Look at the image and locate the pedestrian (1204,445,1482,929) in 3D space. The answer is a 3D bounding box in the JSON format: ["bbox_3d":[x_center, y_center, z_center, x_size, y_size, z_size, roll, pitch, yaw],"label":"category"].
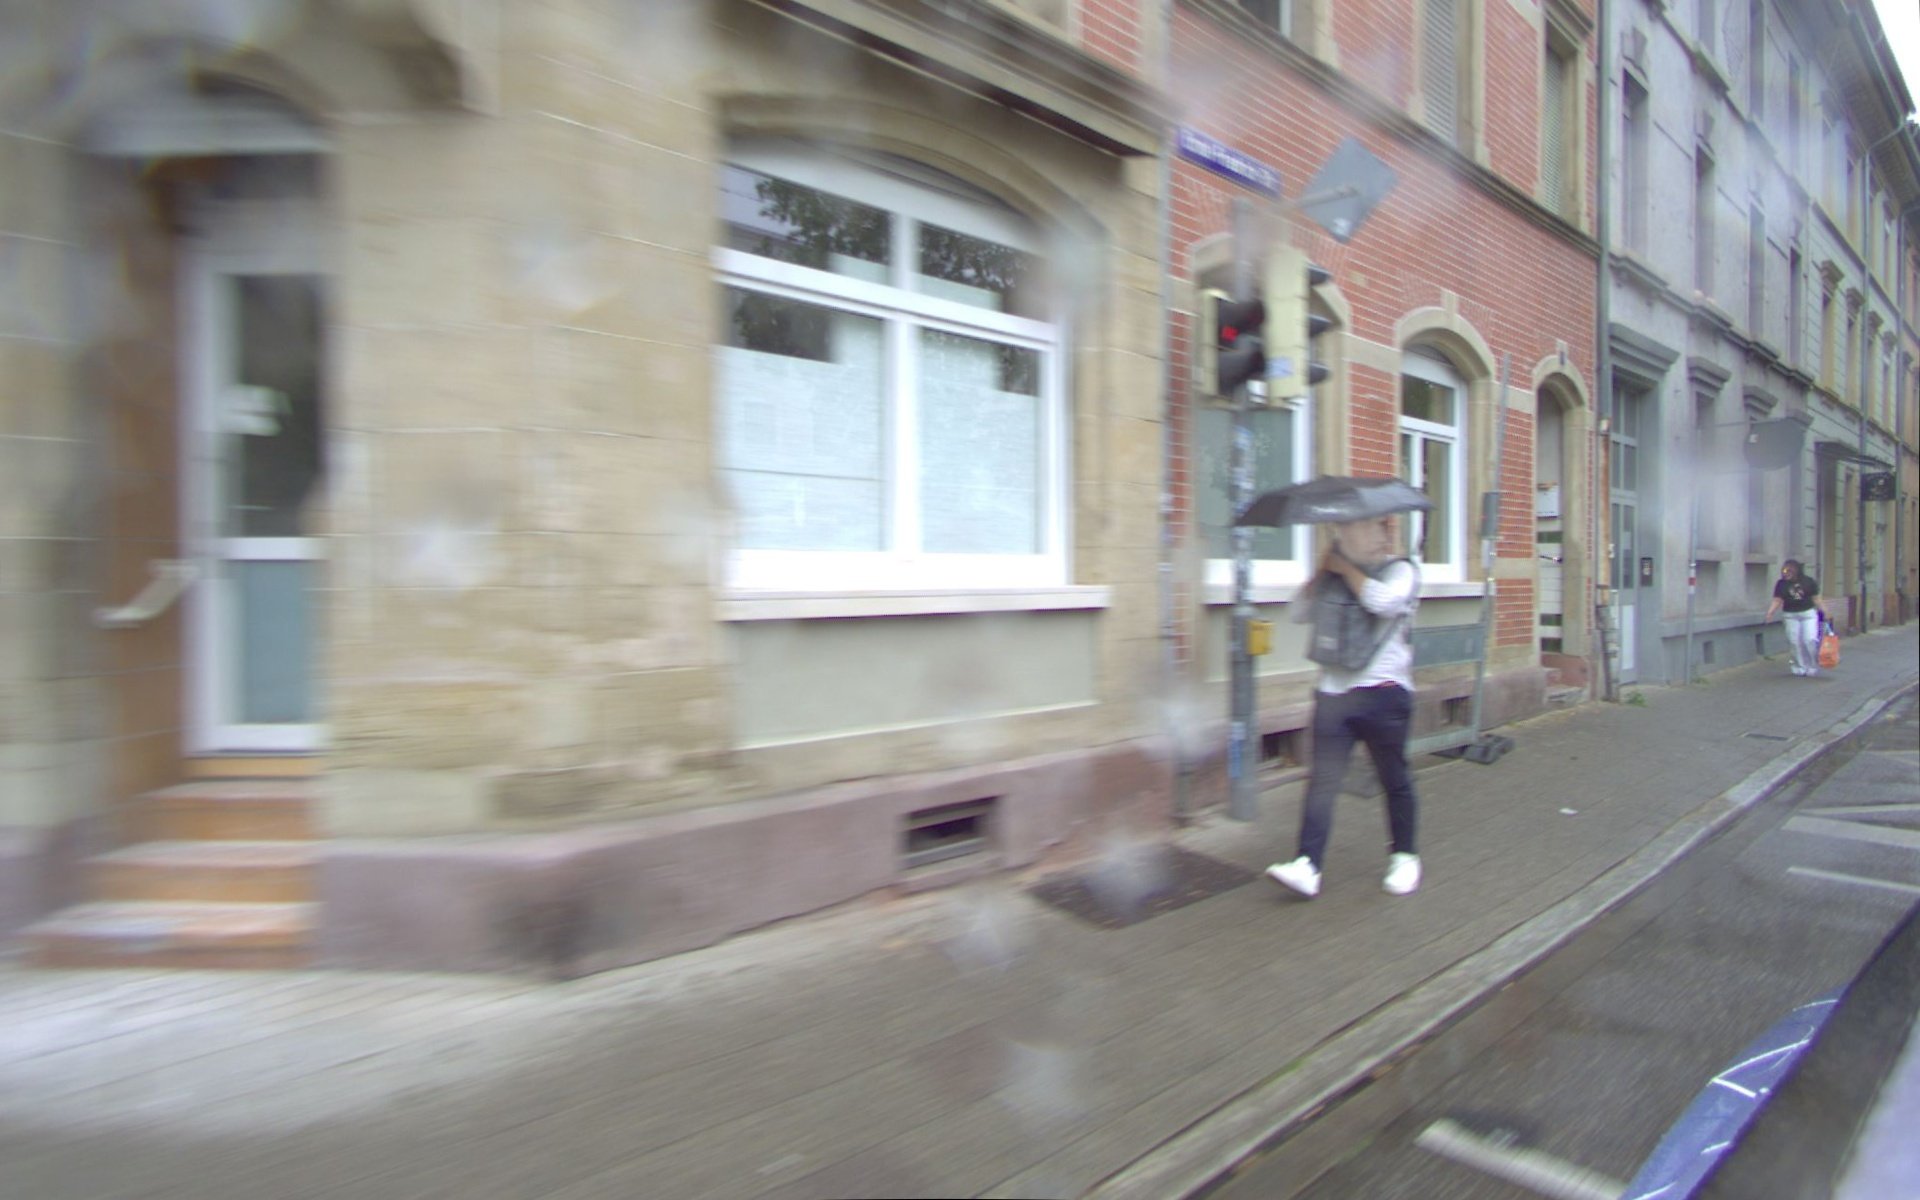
[{"bbox_3d":[1.742,0.320,4.625,0.913,1.936,0.786,-2,4,-41],"label":"pedestrian"}]

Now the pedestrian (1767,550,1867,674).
[{"bbox_3d":[11.757,0.141,13.890,0.566,1.592,0.849,-1,5,-40],"label":"pedestrian"}]
